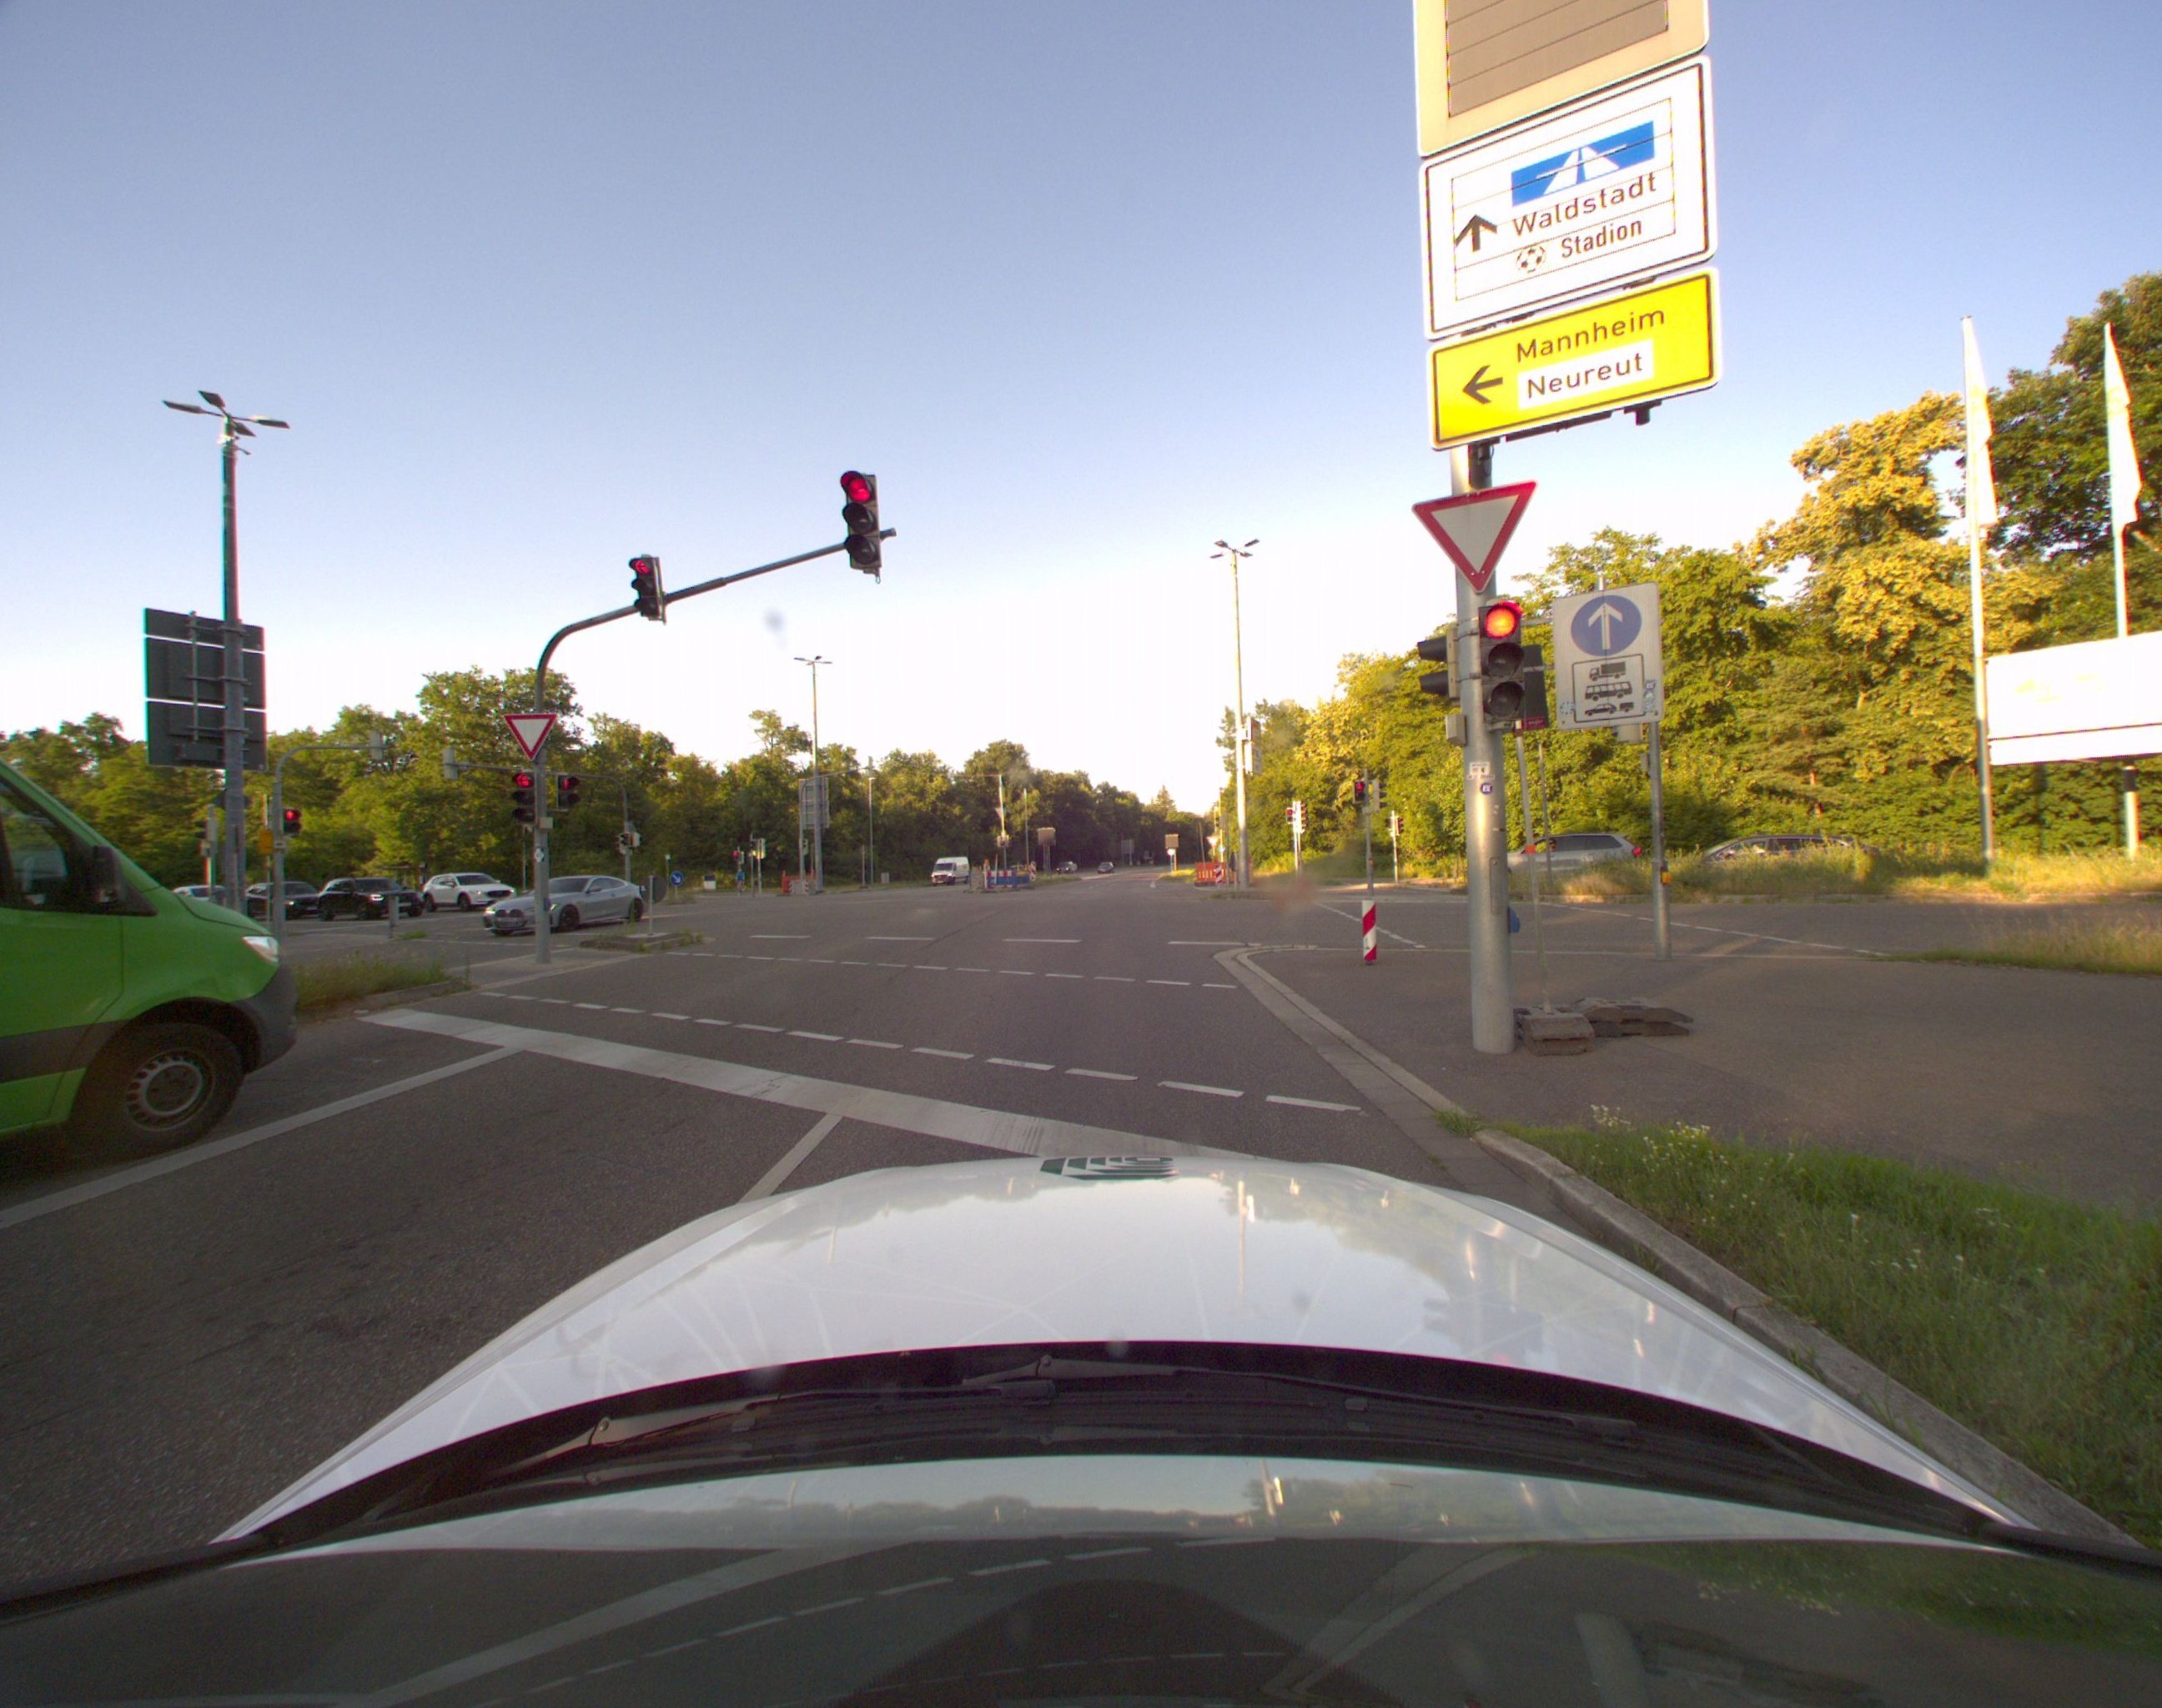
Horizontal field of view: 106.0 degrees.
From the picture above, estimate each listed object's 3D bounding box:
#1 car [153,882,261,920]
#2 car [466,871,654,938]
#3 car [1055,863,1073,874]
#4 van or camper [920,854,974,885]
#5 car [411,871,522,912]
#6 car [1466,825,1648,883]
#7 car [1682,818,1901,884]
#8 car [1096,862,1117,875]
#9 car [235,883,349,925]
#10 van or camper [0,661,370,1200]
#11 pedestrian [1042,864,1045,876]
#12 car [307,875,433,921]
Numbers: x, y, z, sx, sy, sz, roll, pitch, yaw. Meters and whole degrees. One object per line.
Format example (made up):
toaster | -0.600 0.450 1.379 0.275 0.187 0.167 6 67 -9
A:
car | -41.263 2.206 38.468 4.207 1.640 2.011 -2 0 21
car | -13.473 1.244 21.463 1.884 1.441 4.502 -2 0 2
car | -2.678 2.221 129.266 1.981 1.640 4.011 -2 0 9
van or camper | -12.496 1.395 76.832 2.868 2.652 7.139 -2 0 9
car | -26.766 1.638 35.492 4.206 1.640 2.011 -2 0 23
car | 15.024 0.024 26.072 4.773 1.598 2.011 -2 0 23
car | 17.864 -0.053 20.721 3.827 1.489 1.781 -2 0 24
car | 3.584 1.984 111.854 1.979 1.640 4.016 -3 0 14
car | -33.931 2.150 35.027 4.205 1.640 2.011 -2 0 23
van or camper | -5.863 0.361 2.554 1.987 2.421 5.896 -2 0 1
pedestrian | -6.320 2.784 138.107 0.519 2.014 0.600 0 -1 2
car | -27.559 1.695 31.552 4.206 1.640 2.011 -2 0 23
